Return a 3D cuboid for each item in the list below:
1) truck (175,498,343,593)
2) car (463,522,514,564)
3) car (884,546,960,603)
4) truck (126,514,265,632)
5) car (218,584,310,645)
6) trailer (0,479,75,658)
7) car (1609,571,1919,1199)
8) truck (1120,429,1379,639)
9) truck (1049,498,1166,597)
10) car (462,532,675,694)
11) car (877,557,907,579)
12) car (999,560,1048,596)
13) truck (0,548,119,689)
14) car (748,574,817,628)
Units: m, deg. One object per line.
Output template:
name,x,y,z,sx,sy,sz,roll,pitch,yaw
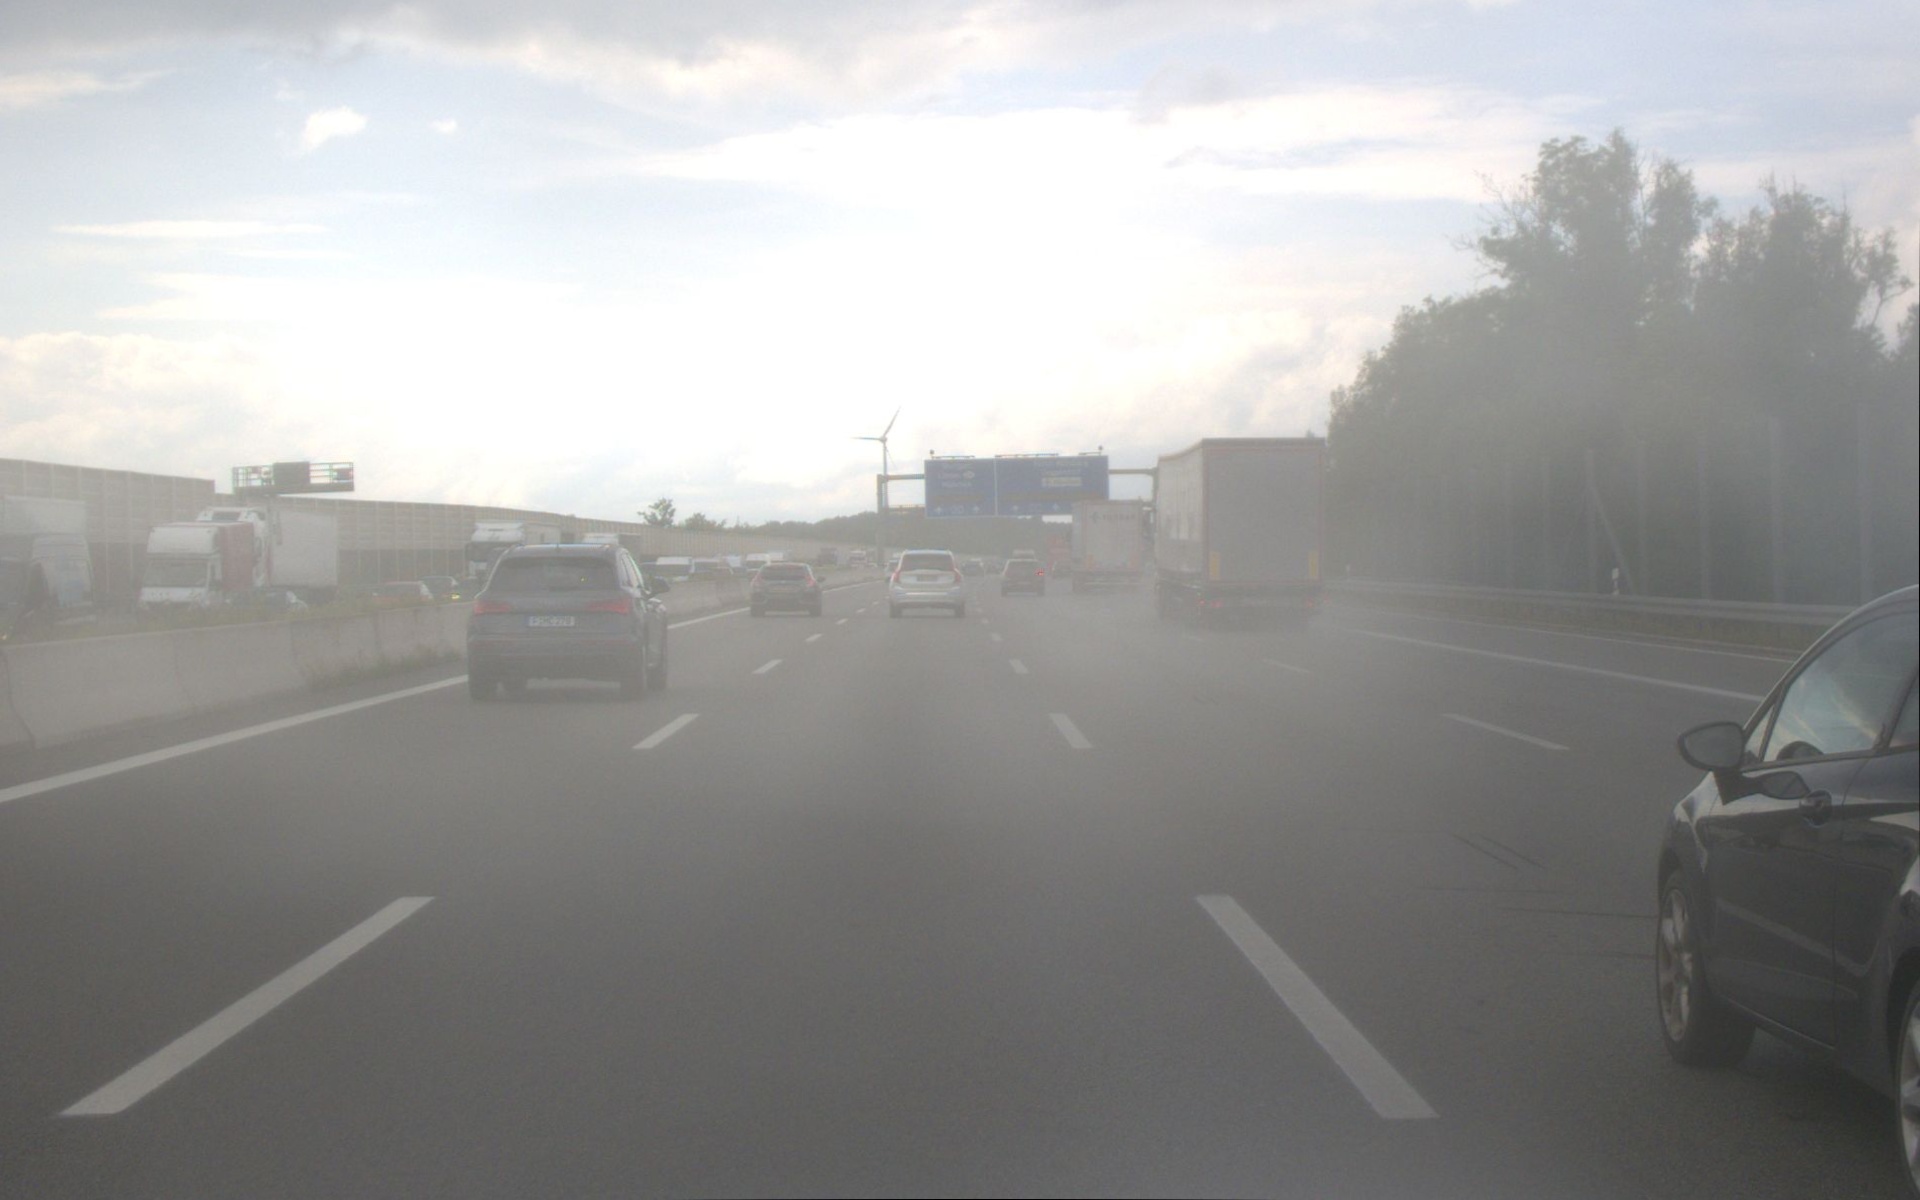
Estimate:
truck,-26.500,-2.046,130.979,3.266,3.340,16.085,1,1,-1
car,-23.409,-2.818,170.808,1.993,2.007,4.000,1,1,-1
car,-1.018,-0.683,89.781,1.772,1.436,4.056,0,1,-4
truck,-22.575,-0.818,101.931,2.321,3.336,8.353,1,1,-1
car,-18.489,0.373,91.434,1.663,1.529,3.887,1,1,-1
trailer,-22.550,-0.705,74.348,3.079,3.921,14.982,1,1,-1
car,2.753,0.646,9.078,1.447,1.436,3.164,0,1,-1
truck,6.257,-1.442,77.213,4.179,4.273,12.614,1,1,-2
truck,6.432,-2.303,152.301,4.243,4.162,11.990,1,1,-2
car,-4.310,0.102,38.577,1.908,1.685,5.169,0,1,-1
car,-4.438,-2.087,223.575,1.772,1.436,3.874,0,1,-3
car,2.634,-0.923,143.108,1.835,1.436,4.056,0,1,-2
truck,-15.603,0.247,56.822,1.993,2.204,5.924,1,1,-1
car,-4.786,0.015,92.153,1.760,1.364,5.061,0,1,-4
